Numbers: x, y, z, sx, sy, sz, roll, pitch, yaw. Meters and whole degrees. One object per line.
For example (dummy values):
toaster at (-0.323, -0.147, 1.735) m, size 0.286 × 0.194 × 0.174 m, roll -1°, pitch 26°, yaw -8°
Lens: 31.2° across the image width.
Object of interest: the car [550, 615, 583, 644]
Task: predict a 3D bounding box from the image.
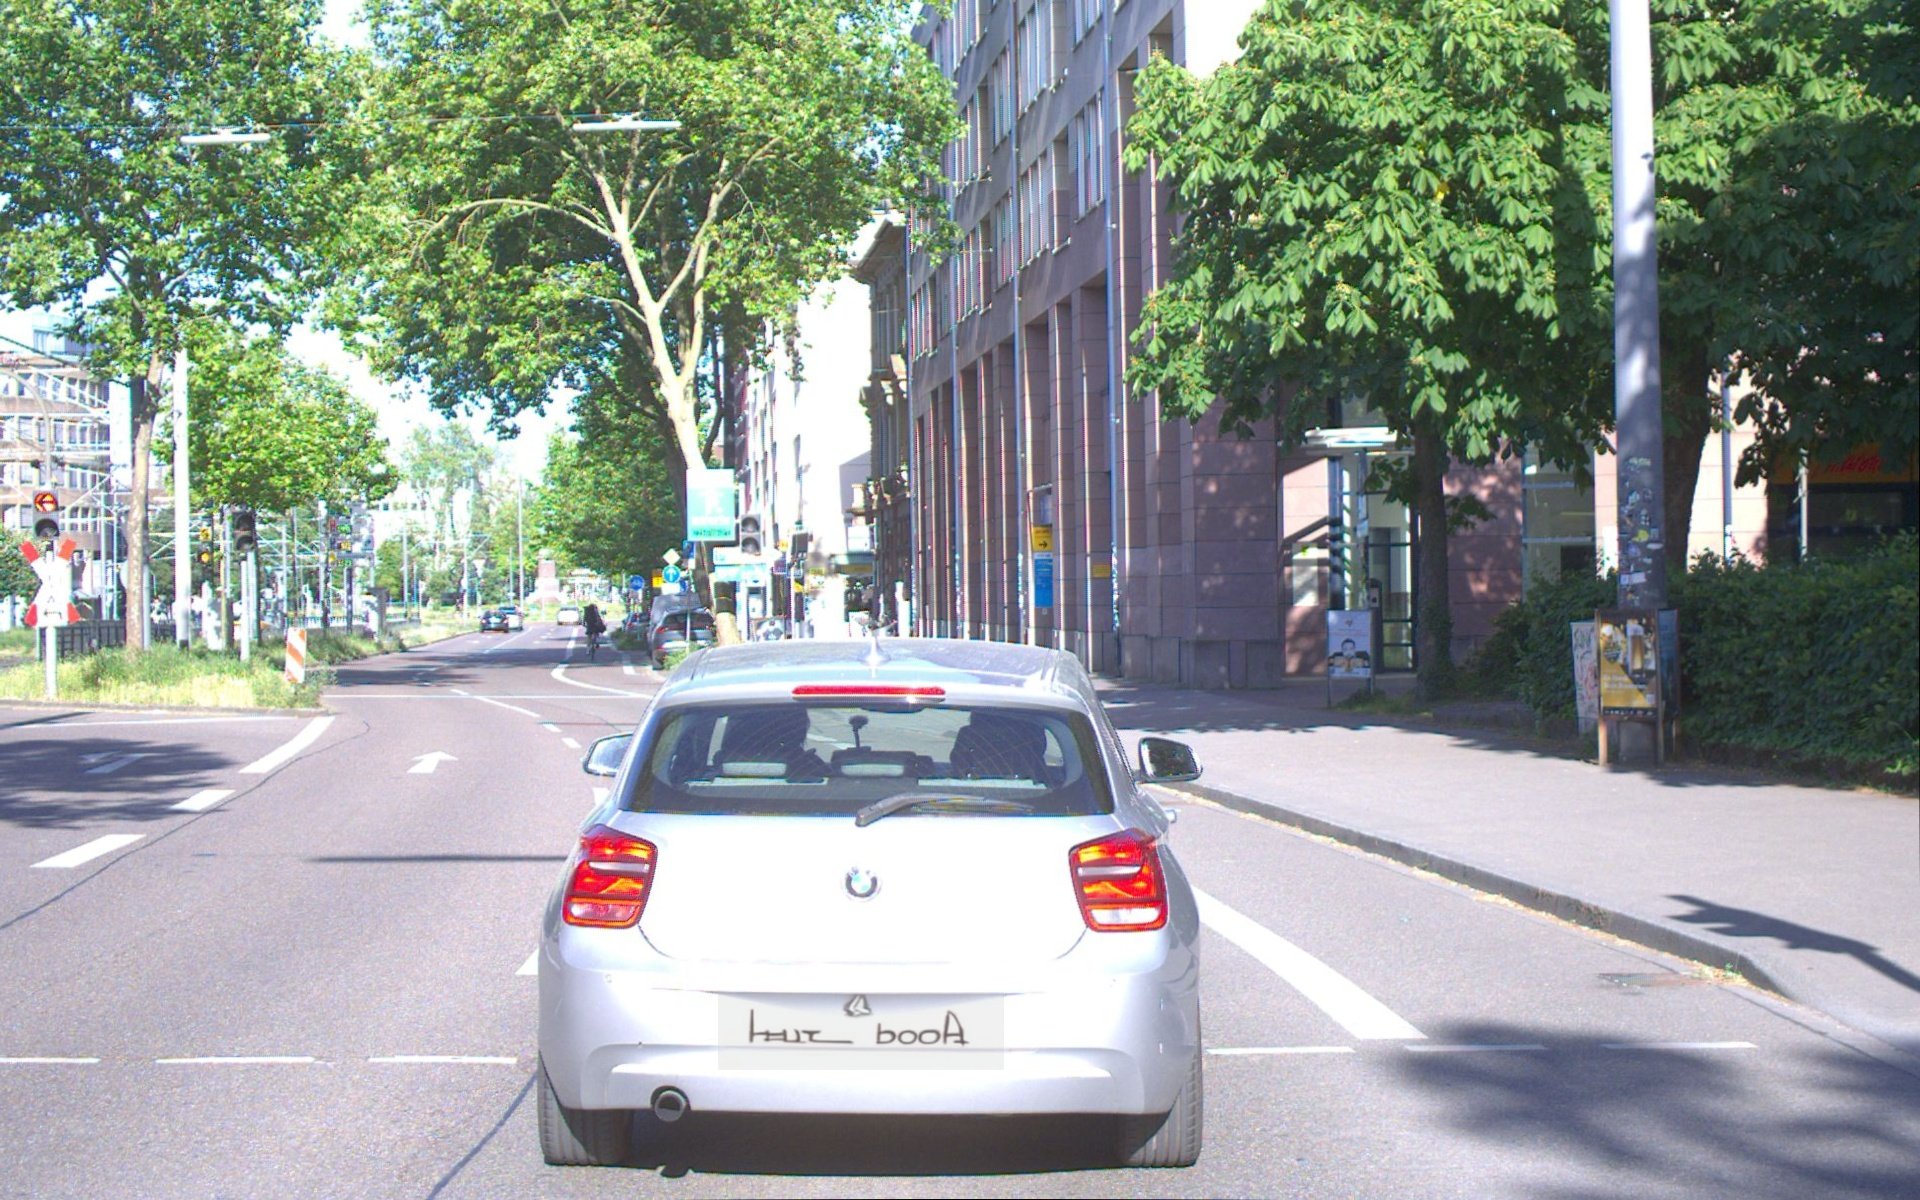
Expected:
car at (-28.776, 2.166, 251.349) m, size 1.993 × 2.007 × 4.000 m, roll 1°, pitch -1°, yaw -1°

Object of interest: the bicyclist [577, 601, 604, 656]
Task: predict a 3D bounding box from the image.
bicyclist at (-11.310, 0.869, 105.182) m, size 0.658 × 1.652 × 0.765 m, roll -1°, pitch 0°, yaw 4°

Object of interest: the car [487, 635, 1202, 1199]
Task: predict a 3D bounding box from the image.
car at (-0.228, 0.852, 10.298) m, size 1.730 × 1.386 × 3.839 m, roll 1°, pitch 1°, yaw 2°

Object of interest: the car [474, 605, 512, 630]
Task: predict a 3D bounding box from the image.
car at (-28.922, 1.095, 212.846) m, size 1.993 × 1.481 × 4.001 m, roll -1°, pitch 0°, yaw -12°

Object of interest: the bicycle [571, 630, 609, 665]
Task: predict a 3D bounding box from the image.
bicycle at (-11.309, 1.446, 105.182) m, size 0.831 × 1.038 × 1.874 m, roll -1°, pitch 0°, yaw 4°
